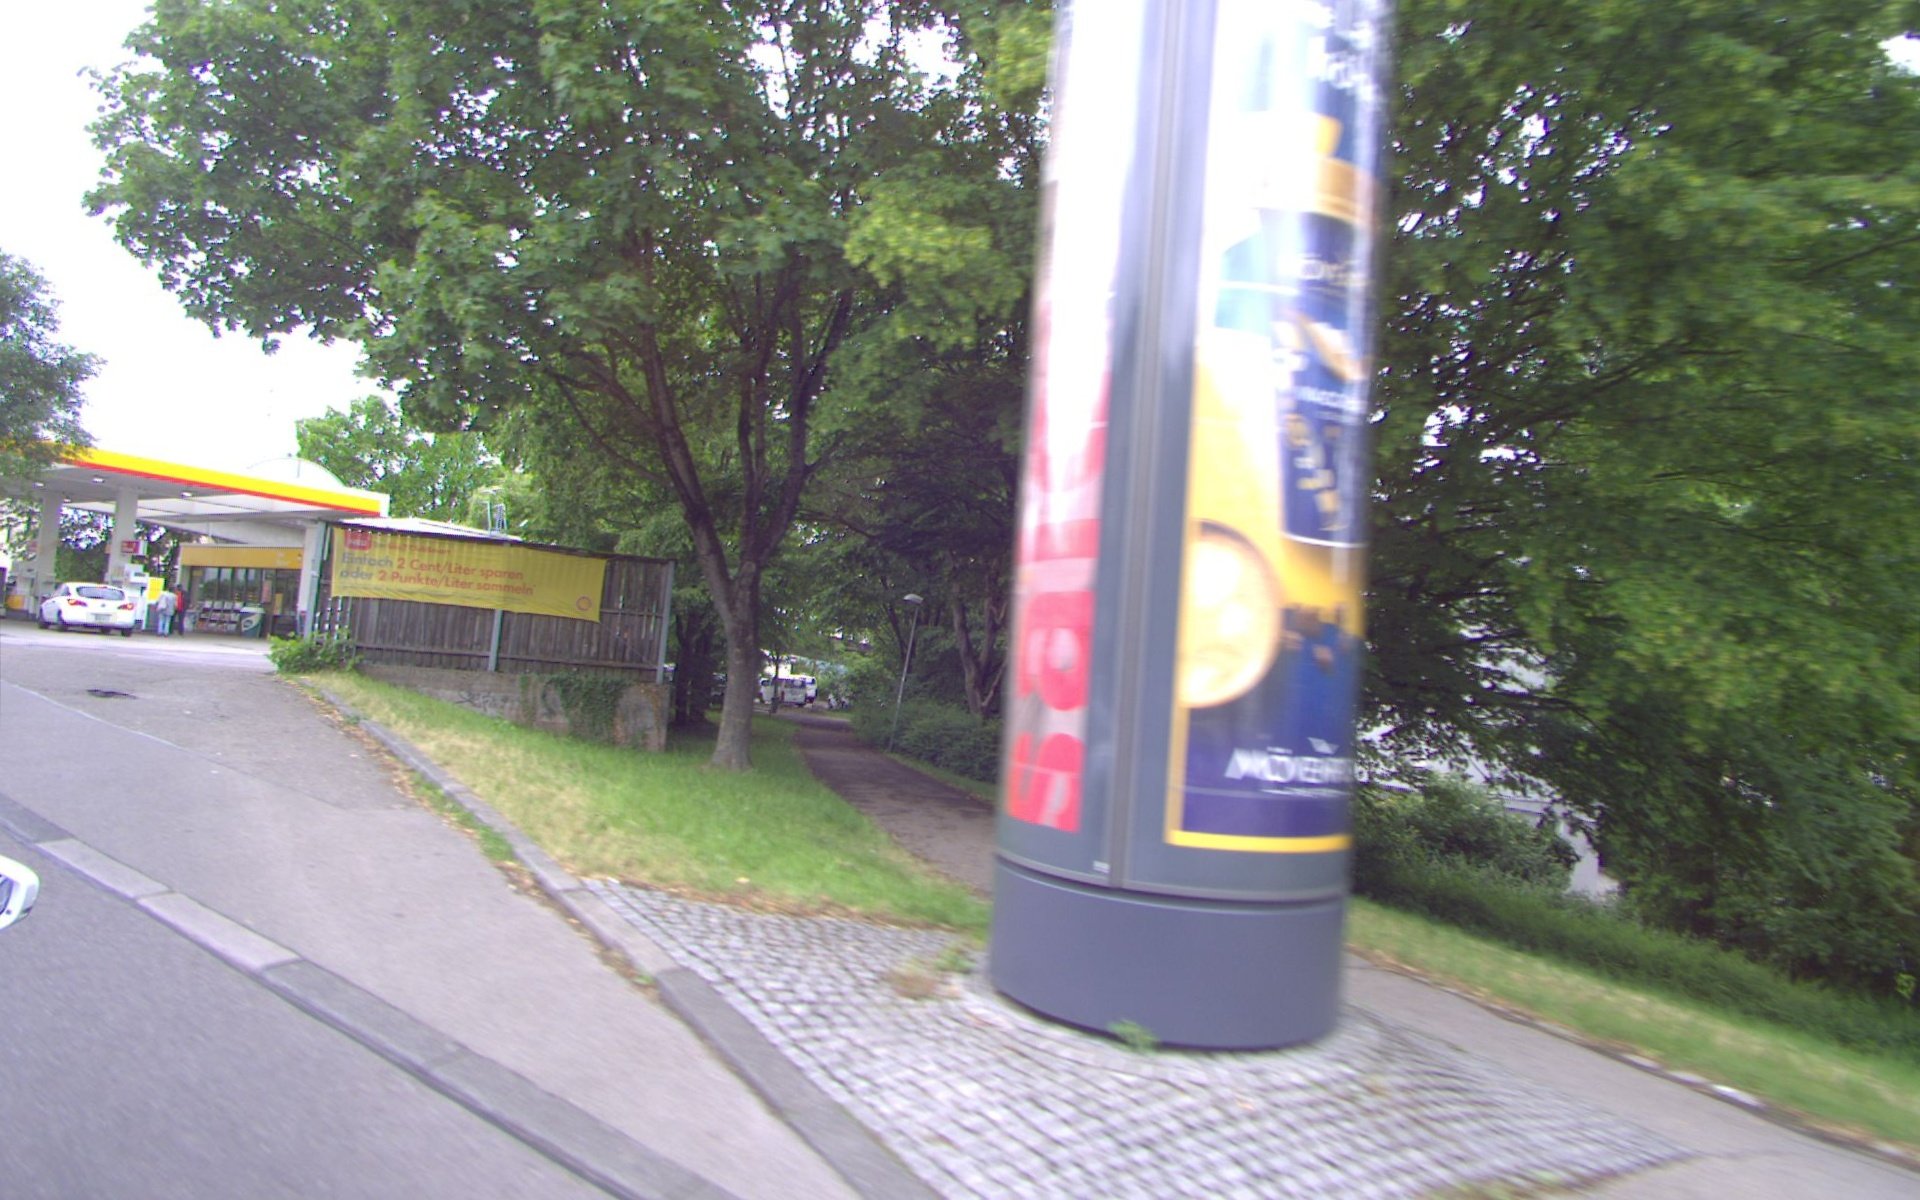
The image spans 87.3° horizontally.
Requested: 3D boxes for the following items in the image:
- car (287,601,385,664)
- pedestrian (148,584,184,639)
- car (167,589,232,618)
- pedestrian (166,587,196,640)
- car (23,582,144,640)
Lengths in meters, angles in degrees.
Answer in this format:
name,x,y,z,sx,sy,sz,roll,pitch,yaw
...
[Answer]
name,x,y,z,sx,sy,sz,roll,pitch,yaw
car,-16.485,0.851,26.759,1.580,1.448,4.273,5,-3,-24
pedestrian,-26.029,0.383,32.971,0.599,1.724,0.544,6,-2,26
car,-51.076,0.264,67.623,1.573,1.361,3.597,7,-8,-2
pedestrian,-26.212,0.458,33.860,0.424,1.724,0.493,6,-2,23
car,-26.388,0.320,30.267,3.818,1.502,1.737,1,-4,34
